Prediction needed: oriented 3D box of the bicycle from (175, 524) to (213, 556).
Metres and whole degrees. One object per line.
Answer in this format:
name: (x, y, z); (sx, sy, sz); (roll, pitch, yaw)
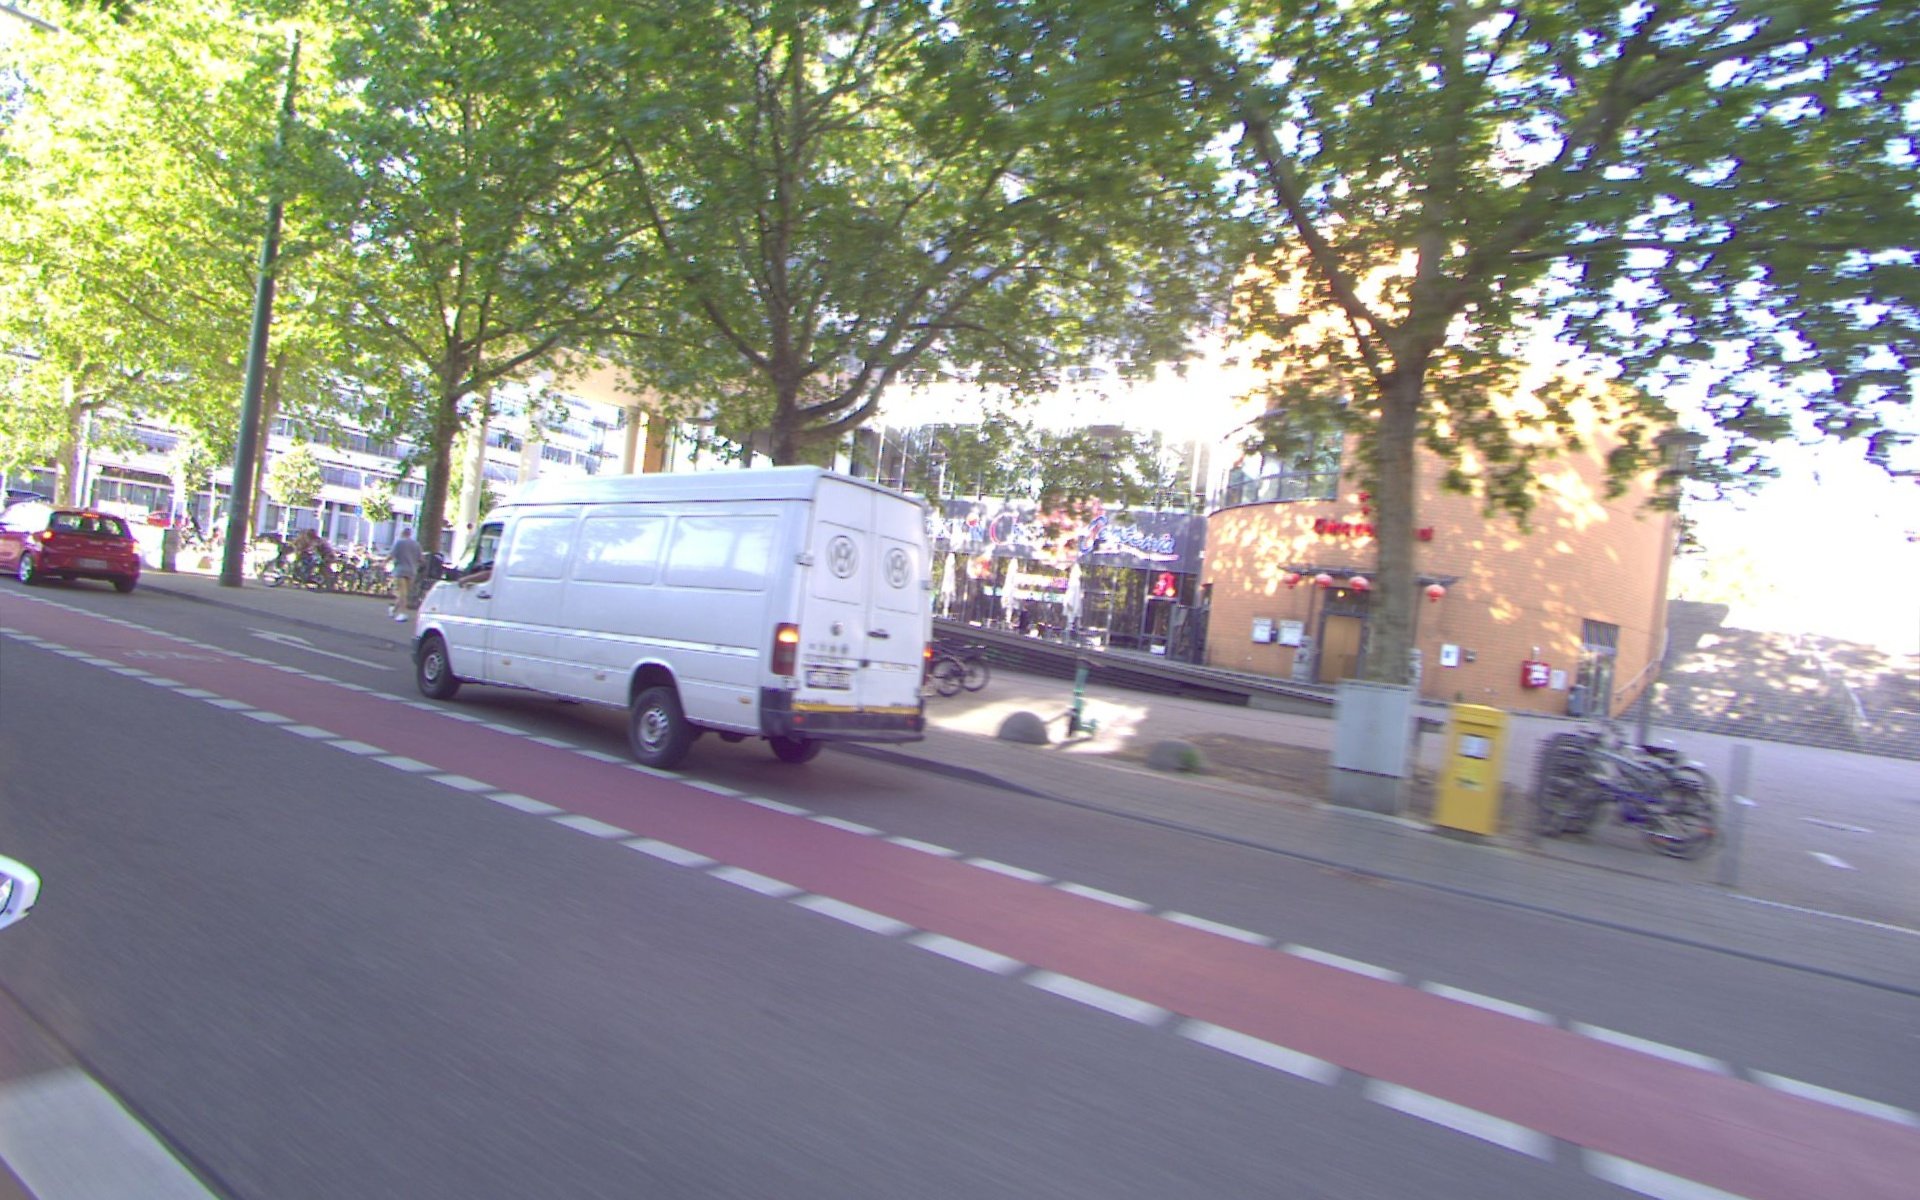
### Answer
bicycle: (-27.820, -2.188, 36.547); (1.451, 0.995, 0.451); (7, 0, 27)

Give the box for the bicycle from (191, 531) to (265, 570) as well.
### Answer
bicycle: (-22.967, -1.555, 31.571); (2.143, 0.945, 0.668); (7, 0, 18)

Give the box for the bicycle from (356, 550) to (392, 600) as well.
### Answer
bicycle: (-14.813, -0.642, 25.404); (0.602, 1.130, 1.810); (6, 0, -33)

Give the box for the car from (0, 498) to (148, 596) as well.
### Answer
car: (-17.342, -1.061, 19.167); (3.559, 1.481, 1.563); (7, -1, 28)

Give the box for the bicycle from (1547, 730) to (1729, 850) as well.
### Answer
bicycle: (7.728, 2.144, 11.548); (1.600, 1.042, 0.459); (7, 0, 31)

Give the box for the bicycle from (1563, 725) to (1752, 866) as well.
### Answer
bicycle: (7.412, 2.055, 10.776); (1.513, 1.172, 0.513); (7, 0, 31)

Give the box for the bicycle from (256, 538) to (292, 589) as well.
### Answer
bicycle: (-16.769, -0.898, 24.621); (0.591, 1.130, 1.810); (6, 0, -33)

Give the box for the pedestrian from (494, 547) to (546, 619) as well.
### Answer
pedestrian: (-11.601, -0.441, 26.549); (0.758, 1.779, 0.818); (7, 1, 34)

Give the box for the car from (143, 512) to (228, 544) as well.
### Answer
car: (-53.317, -4.947, 69.321); (1.767, 1.579, 4.243); (7, -1, 34)

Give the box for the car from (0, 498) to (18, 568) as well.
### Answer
car: (-22.867, -1.707, 22.138); (4.143, 1.482, 1.768); (7, 0, 28)

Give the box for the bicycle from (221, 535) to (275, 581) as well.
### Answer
bicycle: (-19.147, -1.140, 27.037); (1.547, 1.070, 0.628); (7, 0, 35)

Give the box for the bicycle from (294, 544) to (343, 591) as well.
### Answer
bicycle: (-18.267, -0.935, 28.648); (1.451, 1.174, 0.421); (7, 0, 27)

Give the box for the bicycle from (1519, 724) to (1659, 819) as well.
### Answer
bicycle: (8.411, 2.280, 13.510); (1.485, 0.971, 0.459); (7, 0, 31)

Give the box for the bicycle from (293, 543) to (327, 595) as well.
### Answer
bicycle: (-15.976, -0.776, 24.713); (0.591, 1.130, 1.932); (6, 0, -33)

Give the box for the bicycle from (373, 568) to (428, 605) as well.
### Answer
bicycle: (-13.916, -0.326, 25.038); (1.101, 0.770, 0.396); (7, 0, -34)

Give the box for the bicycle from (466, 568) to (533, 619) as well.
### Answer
bicycle: (-10.997, -0.161, 24.010); (1.626, 1.044, 0.503); (7, 0, 28)

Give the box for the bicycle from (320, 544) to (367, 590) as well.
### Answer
bicycle: (-17.955, -0.960, 29.303); (1.451, 1.174, 0.421); (7, 0, 29)

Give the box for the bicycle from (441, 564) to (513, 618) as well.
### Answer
bicycle: (-11.246, -0.214, 23.419); (1.626, 1.044, 0.596); (7, 0, 28)

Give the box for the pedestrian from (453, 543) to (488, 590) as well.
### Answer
pedestrian: (-20.945, -1.426, 43.076); (0.851, 1.841, 0.849); (7, -1, 1)

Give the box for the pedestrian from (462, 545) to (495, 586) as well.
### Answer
pedestrian: (-21.689, -1.548, 45.323); (0.851, 1.701, 0.849); (7, -1, 3)

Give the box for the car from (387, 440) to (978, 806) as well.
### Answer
car: (-3.161, 0.005, 10.256); (6.461, 2.755, 1.995); (6, -2, 37)

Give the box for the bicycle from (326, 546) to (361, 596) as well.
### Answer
bicycle: (-15.337, -0.739, 25.007); (0.591, 1.130, 1.810); (6, 0, -33)

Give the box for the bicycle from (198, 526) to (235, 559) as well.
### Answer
bicycle: (-29.228, -2.256, 39.529); (1.750, 1.140, 0.566); (7, 0, 35)

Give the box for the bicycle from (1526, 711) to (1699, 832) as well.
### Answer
bicycle: (8.190, 2.130, 12.709); (1.690, 1.193, 0.459); (7, 0, 31)

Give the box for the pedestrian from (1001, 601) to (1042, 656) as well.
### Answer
pedestrian: (2.226, 1.039, 36.700); (0.991, 1.866, 0.843); (6, 0, -36)

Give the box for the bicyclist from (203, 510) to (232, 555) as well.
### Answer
bicyclist: (-29.172, -2.645, 39.516); (0.808, 1.636, 0.562); (7, 1, 35)

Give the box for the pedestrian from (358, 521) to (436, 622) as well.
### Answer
pedestrian: (-10.908, -0.540, 19.511); (0.795, 1.808, 0.873); (7, 0, 29)

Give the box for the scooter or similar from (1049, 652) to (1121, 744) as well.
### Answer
scooter or similar: (1.828, 1.416, 14.616); (0.405, 1.239, 1.208); (7, 0, 34)

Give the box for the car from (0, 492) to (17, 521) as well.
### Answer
car: (-59.930, -5.940, 60.555); (1.767, 1.621, 4.243); (7, -1, 34)

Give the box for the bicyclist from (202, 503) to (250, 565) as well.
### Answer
bicyclist: (-23.072, -2.069, 31.626); (0.836, 1.789, 0.752); (7, 1, 18)

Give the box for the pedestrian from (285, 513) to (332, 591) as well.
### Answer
pedestrian: (-16.017, -1.170, 24.734); (0.801, 1.808, 0.651); (6, 1, -35)

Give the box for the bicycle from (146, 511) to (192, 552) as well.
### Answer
bicycle: (-28.256, -2.452, 35.933); (1.854, 1.302, 0.451); (7, 0, 27)

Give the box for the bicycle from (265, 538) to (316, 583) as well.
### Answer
bicycle: (-18.589, -1.093, 27.925); (1.451, 1.095, 0.421); (7, 0, 27)

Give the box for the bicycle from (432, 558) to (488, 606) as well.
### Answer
bicycle: (-14.004, -0.495, 28.187); (1.449, 1.174, 0.422); (7, 1, 20)

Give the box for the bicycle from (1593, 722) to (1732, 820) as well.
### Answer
bicycle: (9.953, 2.399, 14.285); (1.488, 1.090, 0.458); (7, 0, 40)

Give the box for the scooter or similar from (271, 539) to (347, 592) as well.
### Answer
scooter or similar: (-16.986, -0.882, 26.270); (0.899, 1.154, 1.260); (5, -4, 15)

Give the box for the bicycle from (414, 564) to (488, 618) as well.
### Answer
bicycle: (-11.544, -0.209, 22.814); (1.626, 1.044, 0.596); (7, 0, 28)

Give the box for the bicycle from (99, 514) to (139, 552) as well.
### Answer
bicycle: (-28.940, -2.301, 34.620); (1.451, 1.158, 0.451); (7, 0, 27)

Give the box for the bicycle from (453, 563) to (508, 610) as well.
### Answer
bicycle: (-13.690, -0.393, 28.728); (1.449, 1.174, 0.422); (7, 1, 20)

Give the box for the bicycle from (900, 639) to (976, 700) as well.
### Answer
bicycle: (-0.413, 1.269, 18.471); (1.259, 0.958, 0.407); (7, 0, 28)

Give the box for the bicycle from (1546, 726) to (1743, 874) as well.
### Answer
bicycle: (6.920, 1.994, 10.262); (1.513, 1.172, 0.513); (7, 0, 31)

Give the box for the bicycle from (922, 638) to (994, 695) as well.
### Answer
bicycle: (-0.037, 1.309, 20.006); (1.257, 0.958, 0.416); (7, 0, 13)

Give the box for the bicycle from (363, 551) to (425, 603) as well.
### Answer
bicycle: (-14.865, -0.606, 26.419); (1.449, 1.174, 0.479); (7, 0, 20)

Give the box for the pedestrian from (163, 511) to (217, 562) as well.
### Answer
pedestrian: (-31.763, -2.607, 41.510); (1.023, 1.843, 1.213); (6, -2, 23)

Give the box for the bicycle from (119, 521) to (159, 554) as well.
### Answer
bicycle: (-28.770, -2.176, 35.244); (1.451, 0.995, 0.451); (7, 0, 27)

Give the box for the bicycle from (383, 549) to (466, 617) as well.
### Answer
bicycle: (-11.830, -0.377, 22.212); (1.844, 1.280, 0.596); (7, 0, 28)
